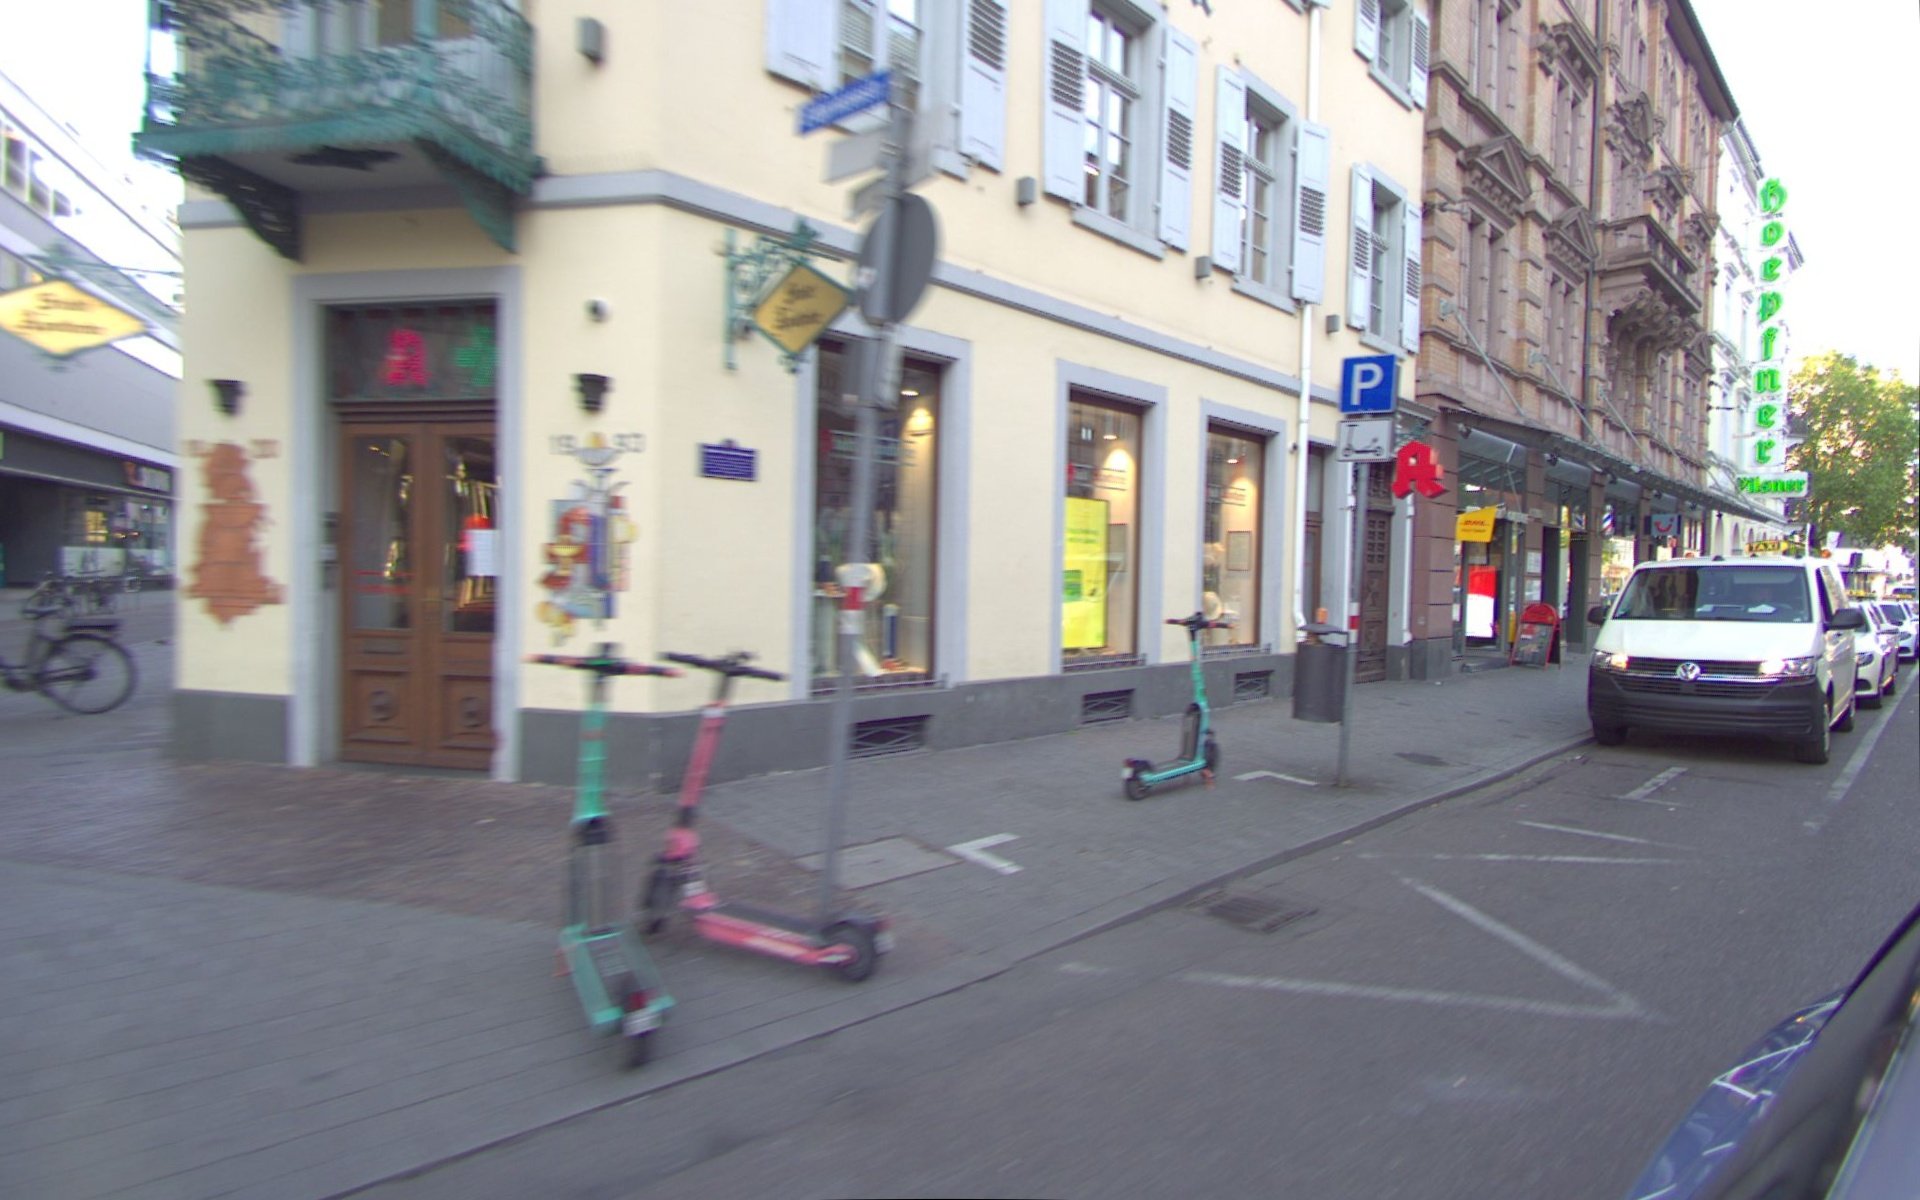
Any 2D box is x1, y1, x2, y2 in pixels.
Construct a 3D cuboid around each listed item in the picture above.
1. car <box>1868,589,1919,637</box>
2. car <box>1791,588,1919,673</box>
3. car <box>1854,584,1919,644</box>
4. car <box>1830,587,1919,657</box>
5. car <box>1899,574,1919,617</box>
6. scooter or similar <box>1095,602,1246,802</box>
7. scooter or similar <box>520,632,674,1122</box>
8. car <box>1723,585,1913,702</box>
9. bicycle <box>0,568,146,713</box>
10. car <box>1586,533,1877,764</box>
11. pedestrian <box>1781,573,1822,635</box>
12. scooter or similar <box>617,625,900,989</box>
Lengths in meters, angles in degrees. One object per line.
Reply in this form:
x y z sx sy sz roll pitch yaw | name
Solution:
31.561 0.387 33.673 1.807 1.494 4.618 0 1 45 | car
18.121 0.517 20.376 1.727 1.495 4.743 0 1 45 | car
27.176 0.355 29.085 4.366 1.610 1.735 -1 0 -42 | car
22.644 0.476 24.743 1.733 1.530 4.787 -1 0 45 | car
48.766 -0.246 51.014 5.130 2.092 1.854 -1 3 -45 | car
1.479 0.655 7.004 1.285 1.249 0.272 -1 3 -41 | scooter or similar
-1.245 0.785 3.371 0.310 1.249 1.182 0 3 -28 | scooter or similar
13.048 0.561 15.280 1.806 1.502 4.700 -1 -1 45 | car
-8.228 0.327 8.657 1.808 1.196 0.773 0 1 -14 | bicycle
8.411 0.376 10.850 1.877 1.948 4.624 -1 0 45 | car
24.261 0.118 29.179 0.476 1.709 0.622 2 5 -27 | pedestrian
-0.775 0.750 3.873 1.032 1.249 0.271 2 2 14 | scooter or similar
